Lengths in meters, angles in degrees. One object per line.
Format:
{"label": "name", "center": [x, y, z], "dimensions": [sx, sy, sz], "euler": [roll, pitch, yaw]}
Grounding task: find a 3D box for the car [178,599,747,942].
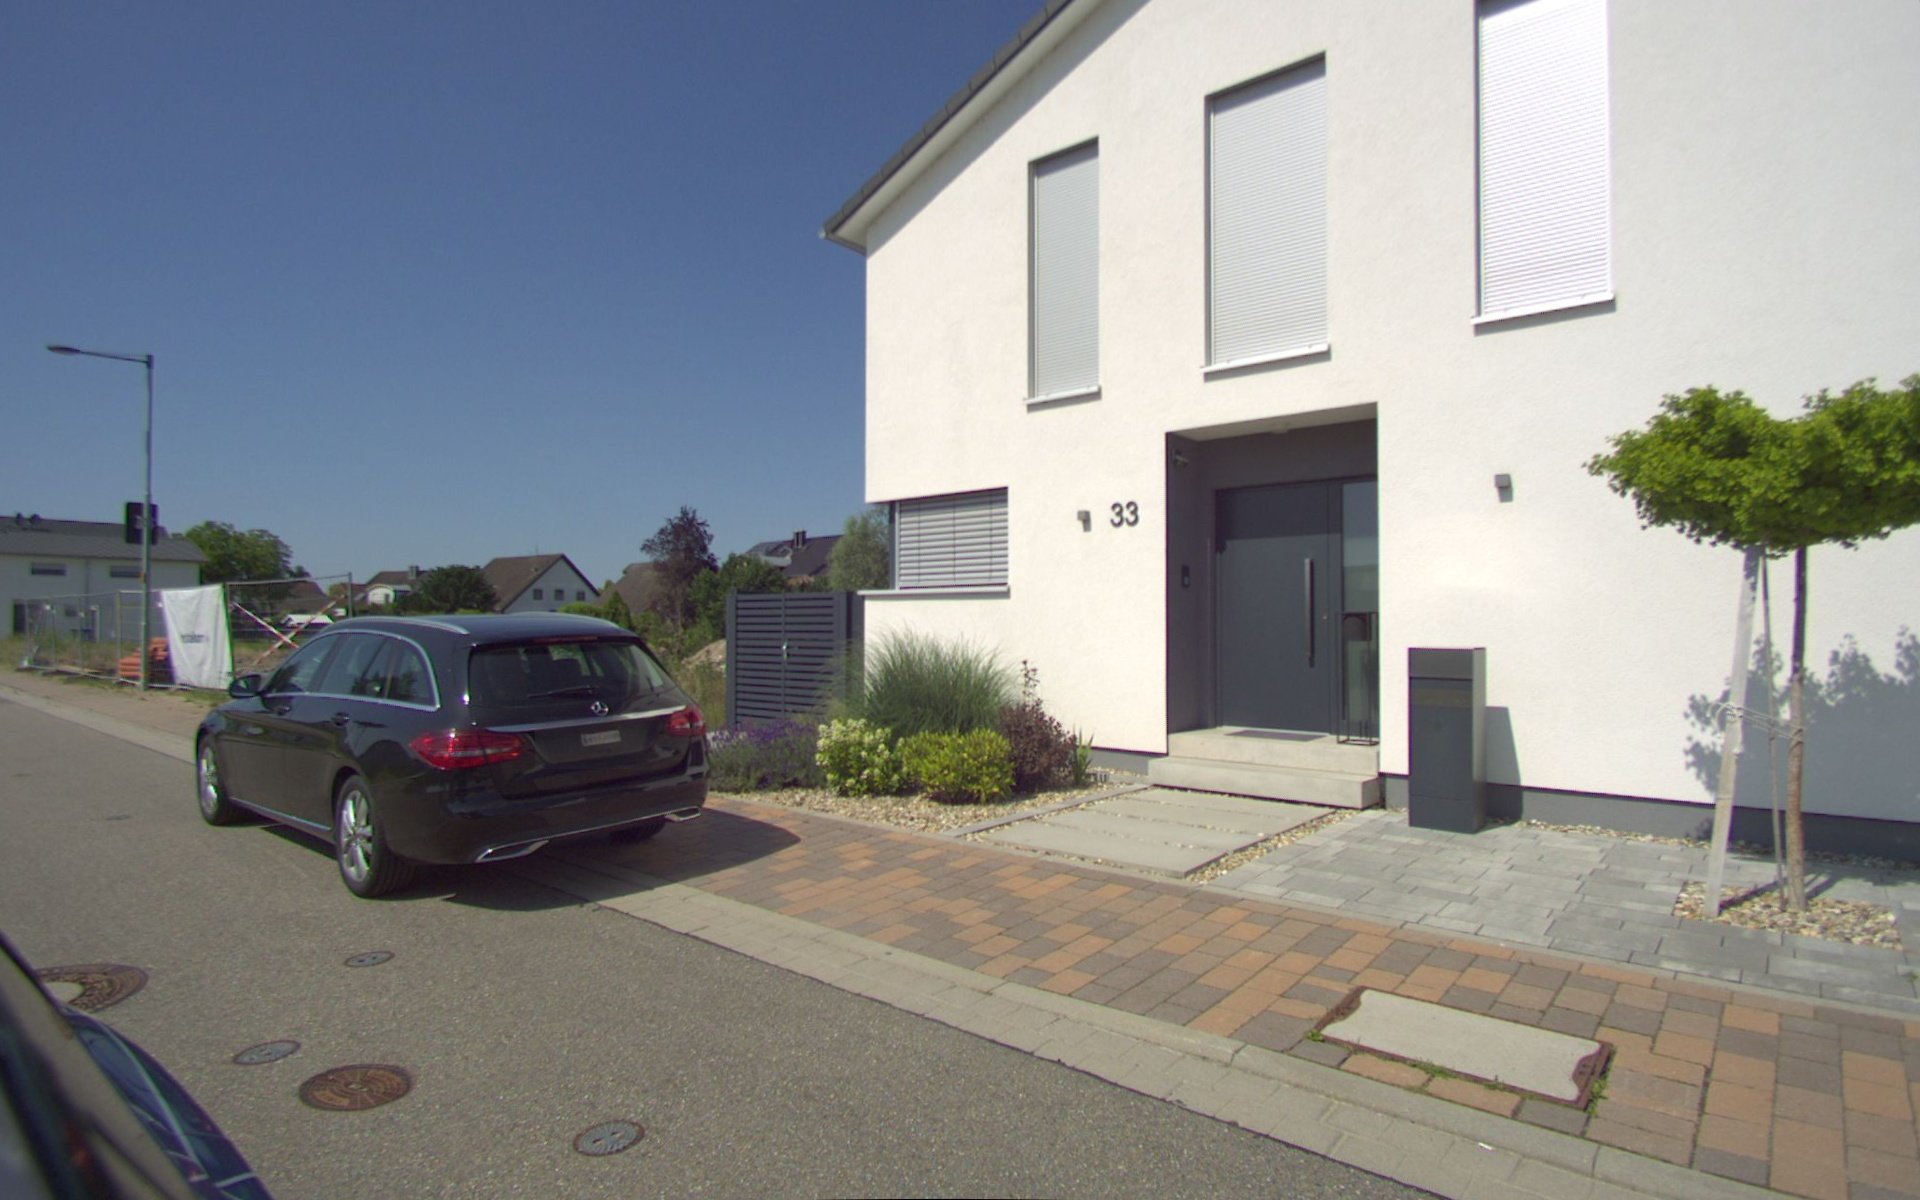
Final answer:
{"label": "car", "center": [-3.438, 0.787, 6.525], "dimensions": [4.442, 1.484, 1.673], "euler": [-1, 0, 41]}
